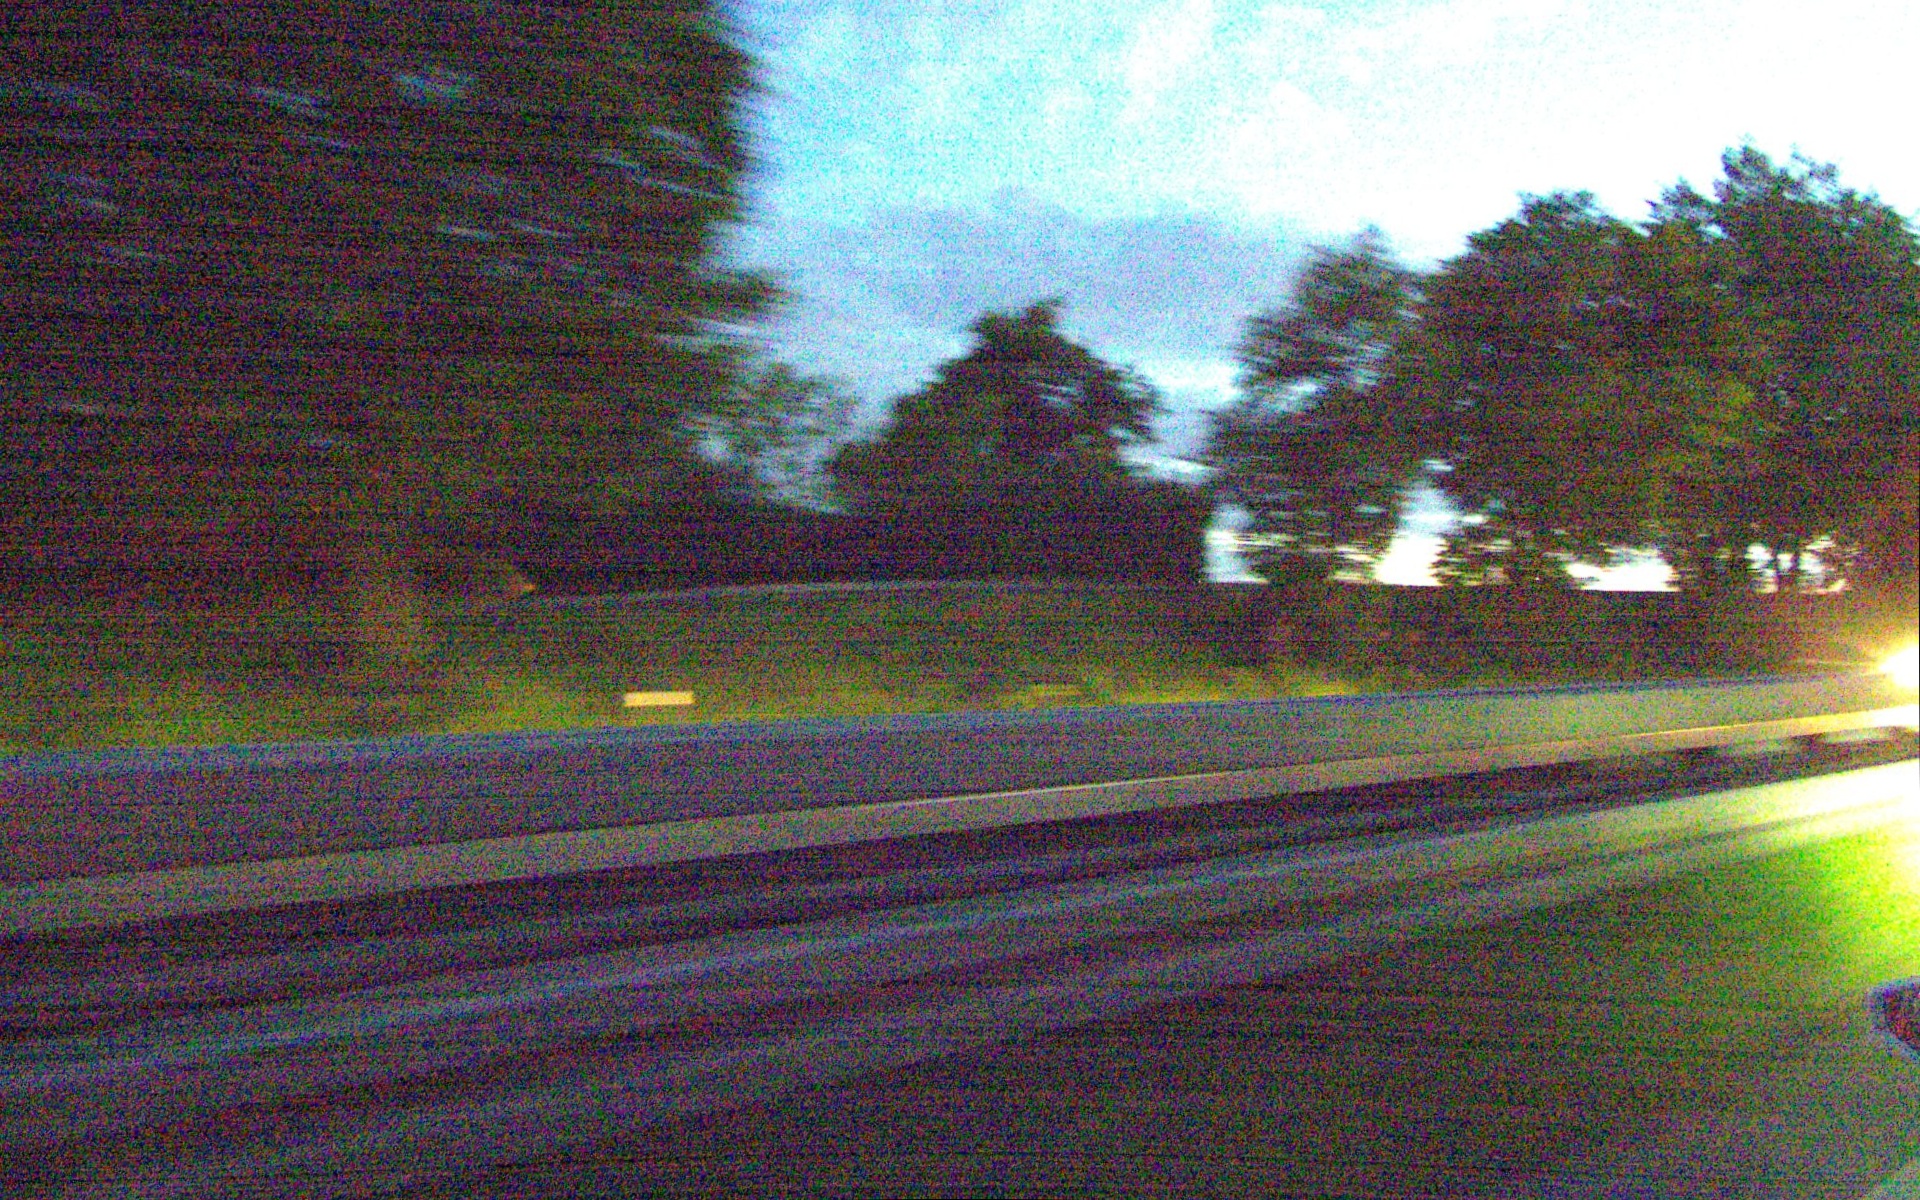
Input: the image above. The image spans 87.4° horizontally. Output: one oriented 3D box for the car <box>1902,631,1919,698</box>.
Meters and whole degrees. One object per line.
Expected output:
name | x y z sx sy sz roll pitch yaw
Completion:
car | 25.282 1.627 24.941 4.118 1.608 1.674 1 0 -31
